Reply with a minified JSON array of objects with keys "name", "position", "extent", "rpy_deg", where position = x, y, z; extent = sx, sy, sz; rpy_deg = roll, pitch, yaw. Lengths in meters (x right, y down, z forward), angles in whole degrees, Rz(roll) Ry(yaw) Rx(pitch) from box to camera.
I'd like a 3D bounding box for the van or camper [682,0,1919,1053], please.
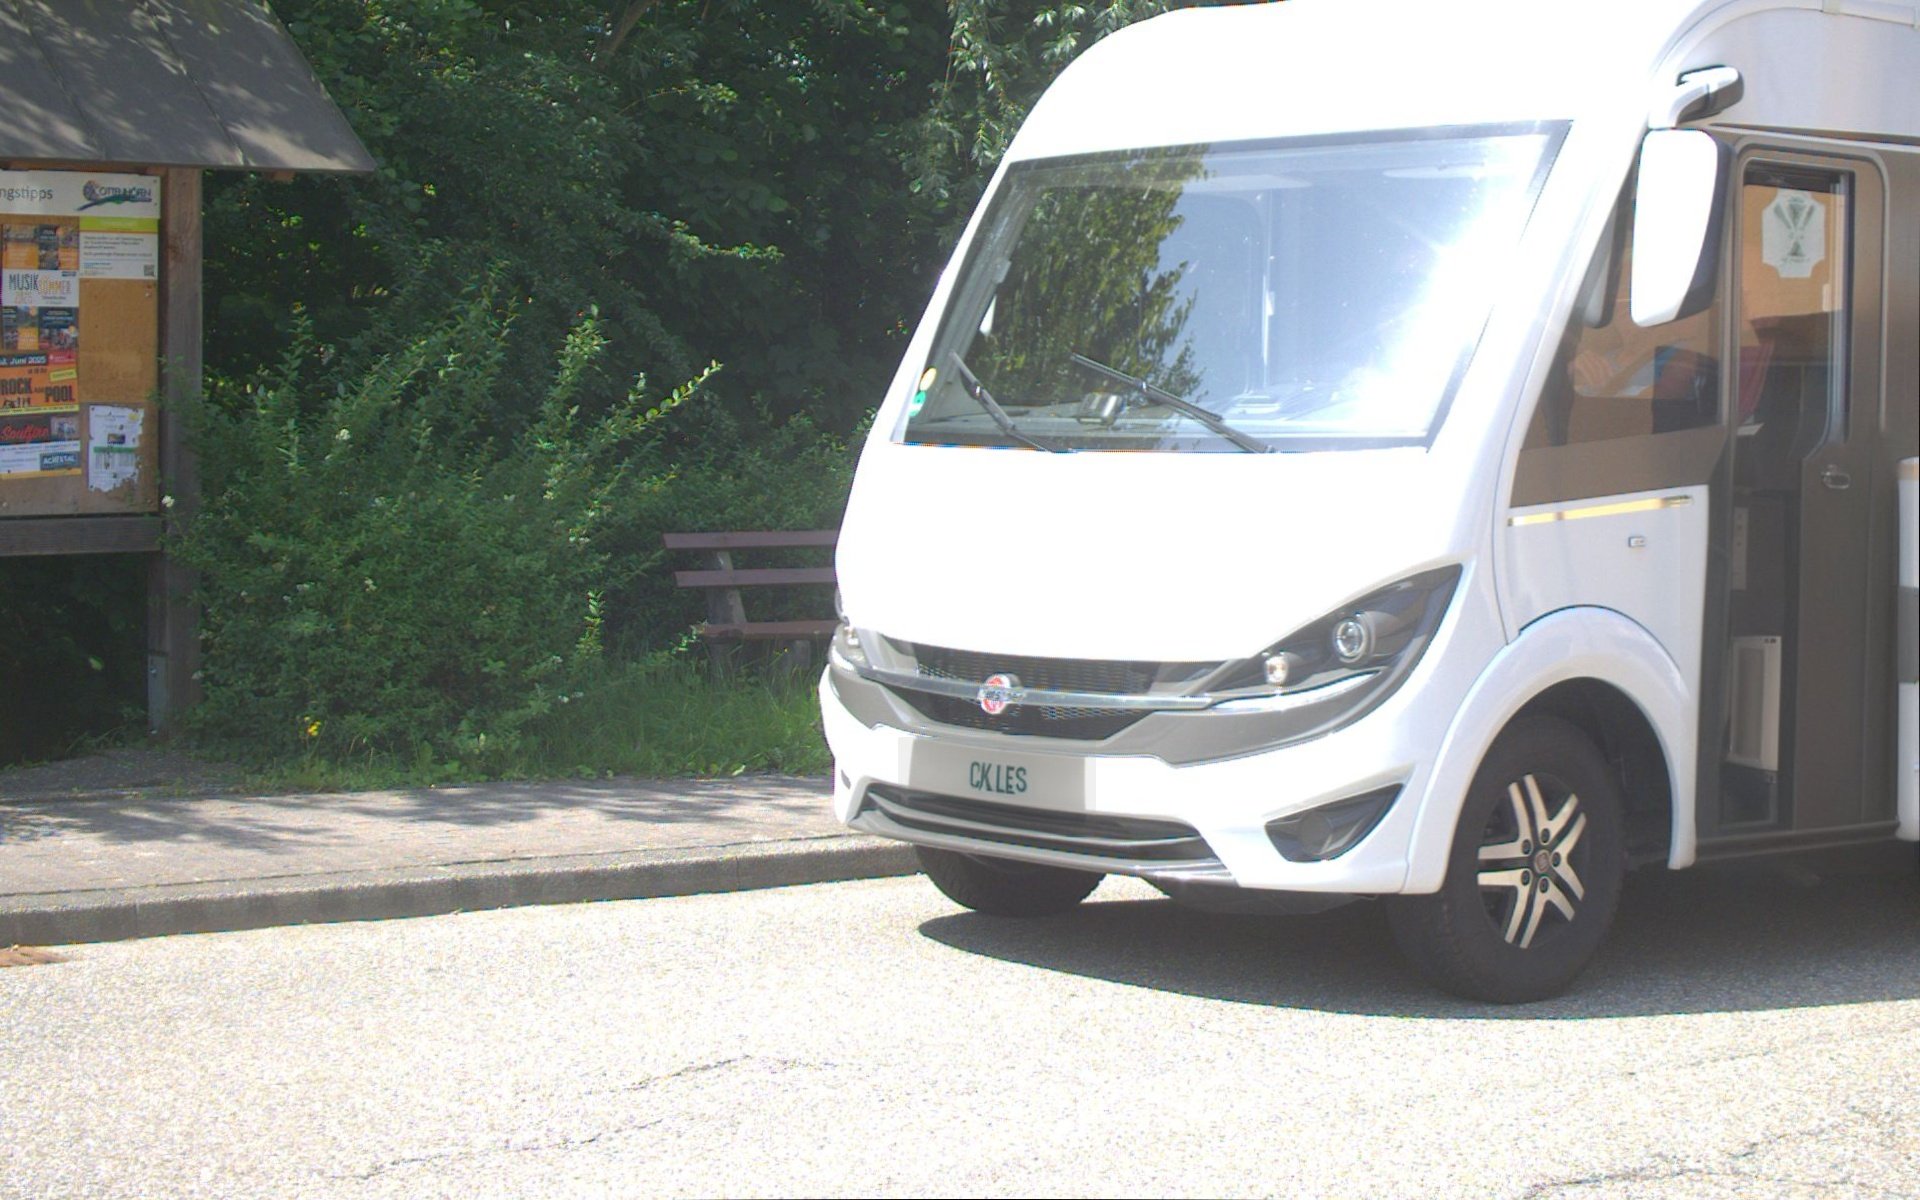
[{"name":"van or camper","position":[3.065,-0.561,11.216],"extent":[8.028,2.942,2.365],"rpy_deg":[-1,4,-41]}]
